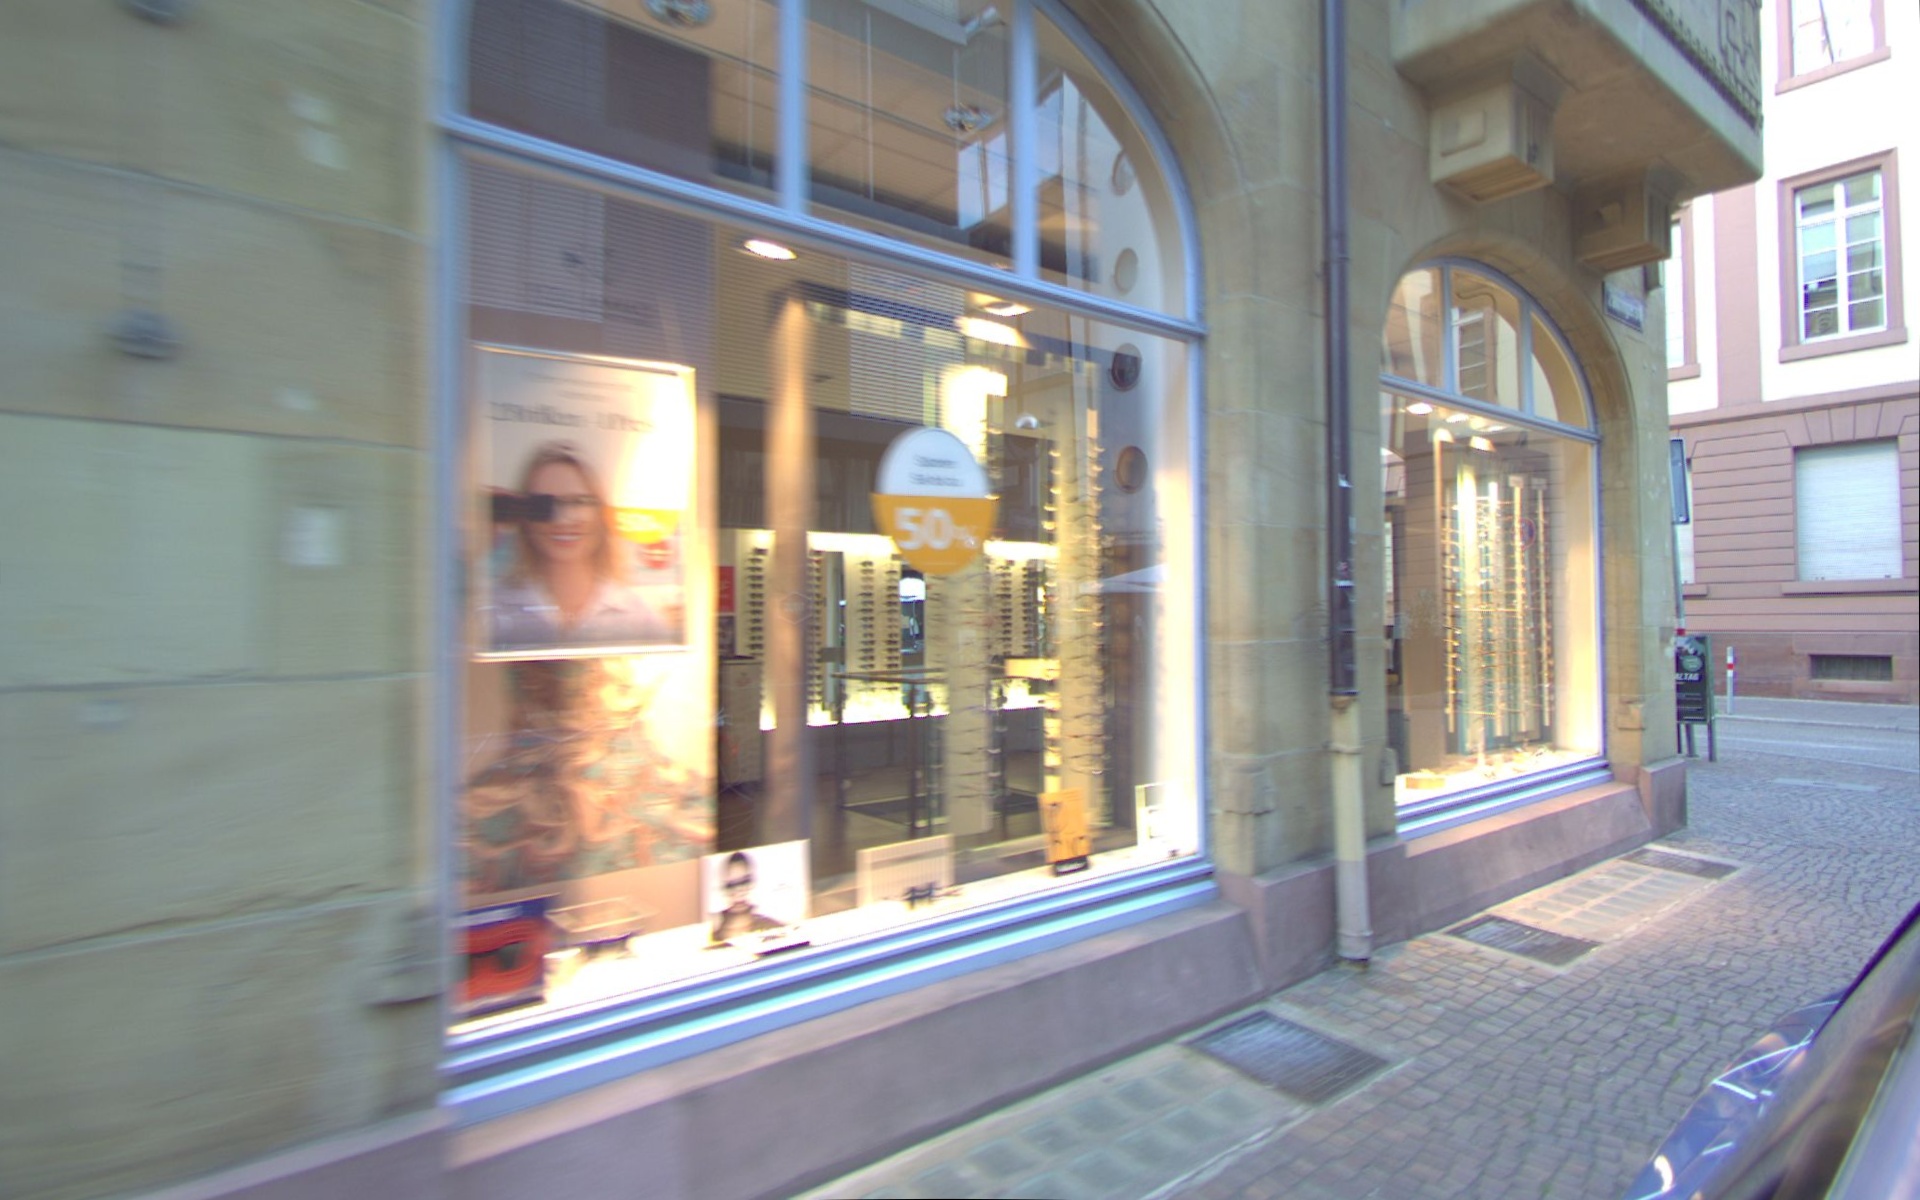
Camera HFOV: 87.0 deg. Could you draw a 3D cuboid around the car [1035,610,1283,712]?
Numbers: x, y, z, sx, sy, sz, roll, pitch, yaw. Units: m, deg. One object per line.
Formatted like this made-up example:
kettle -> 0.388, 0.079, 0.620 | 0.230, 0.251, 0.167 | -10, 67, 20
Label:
car -> 3.169, 0.921, 16.795 | 1.620, 1.461, 3.998 | 0, -1, -36
